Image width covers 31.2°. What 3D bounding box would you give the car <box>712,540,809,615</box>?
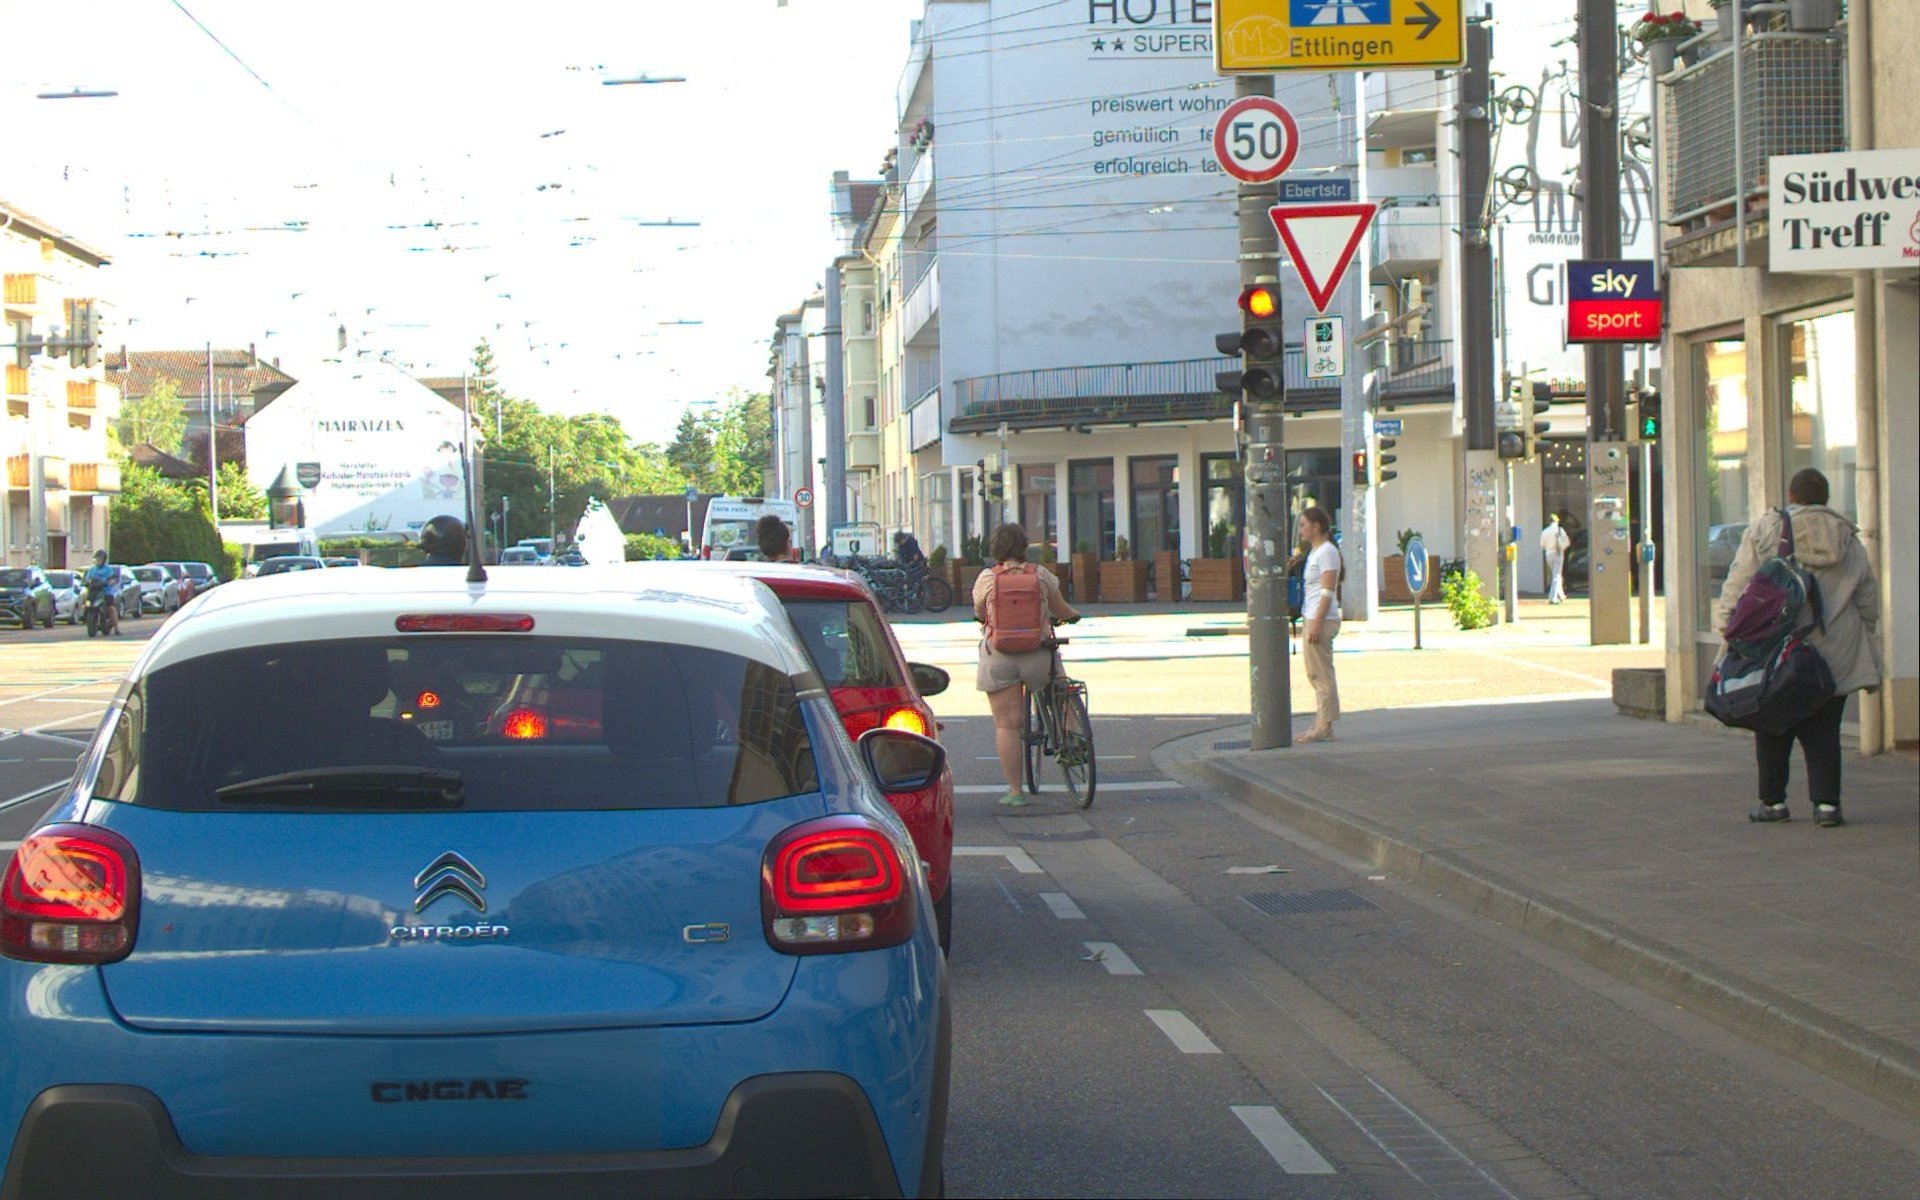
[{"bbox_3d":[-3.962,-0.455,67.858,1.657,1.426,3.889,1,1,-7],"label":"car"}]

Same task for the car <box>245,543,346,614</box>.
[{"bbox_3d":[-14.747,-0.486,76.429,1.778,1.481,3.829,-2,1,-5],"label":"car"}]

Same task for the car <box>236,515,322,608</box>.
[{"bbox_3d":[-23.556,-1.326,119.037,2.417,3.131,3.489,1,0,-3],"label":"car"}]

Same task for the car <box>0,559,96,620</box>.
[{"bbox_3d":[-24.395,-0.306,92.083,1.869,1.571,4.001,1,1,-6],"label":"car"}]

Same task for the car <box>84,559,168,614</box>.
[{"bbox_3d":[-24.876,-0.419,102.637,1.869,1.571,4.001,1,1,-6],"label":"car"}]

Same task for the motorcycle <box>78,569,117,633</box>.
[{"bbox_3d":[-16.805,0.026,66.988,0.711,1.216,1.966,-1,-1,-14],"label":"motorcycle"}]

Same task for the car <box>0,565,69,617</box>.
[{"bbox_3d":[-23.699,-0.244,86.176,1.946,1.235,4.283,1,1,-5],"label":"car"}]

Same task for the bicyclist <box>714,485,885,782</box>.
[{"bbox_3d":[-0.922,0.184,19.946,0.940,1.667,1.079,1,0,-2],"label":"bicyclist"}]

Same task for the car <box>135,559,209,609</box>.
[{"bbox_3d":[-25.806,-0.533,112.711,1.869,1.571,4.001,1,1,-6],"label":"car"}]

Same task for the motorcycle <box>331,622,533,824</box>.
[{"bbox_3d":[-2.969,0.670,19.524,0.855,1.043,1.942,1,1,-1],"label":"motorcycle"}]

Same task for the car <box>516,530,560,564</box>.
[{"bbox_3d":[-23.019,-2.885,187.841,2.074,1.756,5.037,1,1,-4],"label":"car"}]

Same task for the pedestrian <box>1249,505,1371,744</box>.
[{"bbox_3d":[2.465,0.167,24.162,0.540,1.618,0.732,-5,-1,21],"label":"pedestrian"}]

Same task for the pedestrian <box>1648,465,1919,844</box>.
[{"bbox_3d":[3.664,0.223,15.290,0.884,1.586,0.811,-4,2,-8],"label":"pedestrian"}]

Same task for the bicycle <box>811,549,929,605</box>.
[{"bbox_3d":[-1.794,-0.461,68.295,2.251,0.998,0.856,-3,1,-5],"label":"bicycle"}]

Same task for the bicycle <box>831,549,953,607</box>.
[{"bbox_3d":[-1.306,-0.427,65.816,2.251,0.998,0.856,-3,1,-5],"label":"bicycle"}]

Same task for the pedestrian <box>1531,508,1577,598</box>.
[{"bbox_3d":[10.630,-0.845,61.534,0.610,1.603,0.668,1,0,27],"label":"pedestrian"}]

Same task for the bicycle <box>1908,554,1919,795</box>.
[{"bbox_3d":[4.895,0.361,15.770,0.496,1.157,1.777,-1,0,-3],"label":"bicycle"}]

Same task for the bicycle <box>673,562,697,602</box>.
[{"bbox_3d":[-11.653,-0.779,145.690,0.791,1.664,2.230,1,1,1],"label":"bicycle"}]

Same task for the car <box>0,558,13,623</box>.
[{"bbox_3d":[-23.179,-0.225,79.333,1.741,1.521,4.230,1,1,-4],"label":"car"}]

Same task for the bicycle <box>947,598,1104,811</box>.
[{"bbox_3d":[0.413,0.591,20.514,0.811,1.177,2.064,1,1,4],"label":"bicycle"}]

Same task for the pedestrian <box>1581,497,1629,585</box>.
[{"bbox_3d":[11.952,-1.092,63.684,0.611,1.603,0.667,1,1,40],"label":"pedestrian"}]

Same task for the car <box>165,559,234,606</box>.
[{"bbox_3d":[-26.298,-0.603,118.931,1.869,1.571,4.001,1,1,-6],"label":"car"}]

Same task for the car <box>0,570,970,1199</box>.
[{"bbox_3d":[-0.855,0.671,7.189,1.736,1.447,3.662,0,1,0],"label":"car"}]

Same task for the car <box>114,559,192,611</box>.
[{"bbox_3d":[-25.230,-0.474,107.615,1.869,1.571,4.001,1,1,-6],"label":"car"}]

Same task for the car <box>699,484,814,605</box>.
[{"bbox_3d":[-4.347,-1.165,72.827,2.265,2.473,5.009,0,1,-5],"label":"car"}]

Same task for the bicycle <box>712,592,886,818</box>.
[{"bbox_3d":[-0.920,0.580,20.020,0.940,1.219,2.095,1,1,-2],"label":"bicycle"}]

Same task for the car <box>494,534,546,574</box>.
[{"bbox_3d":[-21.738,-2.249,169.975,2.218,1.925,4.950,1,1,-4],"label":"car"}]

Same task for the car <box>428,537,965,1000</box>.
[{"bbox_3d":[-1.056,0.540,13.459,1.784,1.516,3.763,1,1,-5],"label":"car"}]

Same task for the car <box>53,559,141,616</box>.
[{"bbox_3d":[-24.607,-0.370,98.143,1.869,1.571,4.001,1,1,-6],"label":"car"}]

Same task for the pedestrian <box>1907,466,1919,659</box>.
[{"bbox_3d":[5.795,-0.221,19.272,0.623,1.084,0.679,-3,2,-37],"label":"pedestrian"}]

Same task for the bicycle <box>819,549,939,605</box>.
[{"bbox_3d":[-1.596,-0.454,67.183,2.251,0.998,0.856,-3,1,-5],"label":"bicycle"}]

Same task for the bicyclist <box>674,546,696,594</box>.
[{"bbox_3d":[-11.647,-1.275,145.688,0.791,2.018,0.986,1,0,1],"label":"bicyclist"}]

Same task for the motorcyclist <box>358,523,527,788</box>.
[{"bbox_3d":[-2.971,0.311,19.796,0.855,1.483,0.729,1,0,-1],"label":"motorcyclist"}]

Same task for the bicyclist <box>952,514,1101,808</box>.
[{"bbox_3d":[0.402,0.345,20.314,0.811,1.686,0.935,1,0,4],"label":"bicyclist"}]

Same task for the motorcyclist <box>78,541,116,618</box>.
[{"bbox_3d":[-16.848,-0.398,67.147,0.693,1.491,0.684,-1,-1,-14],"label":"motorcyclist"}]
